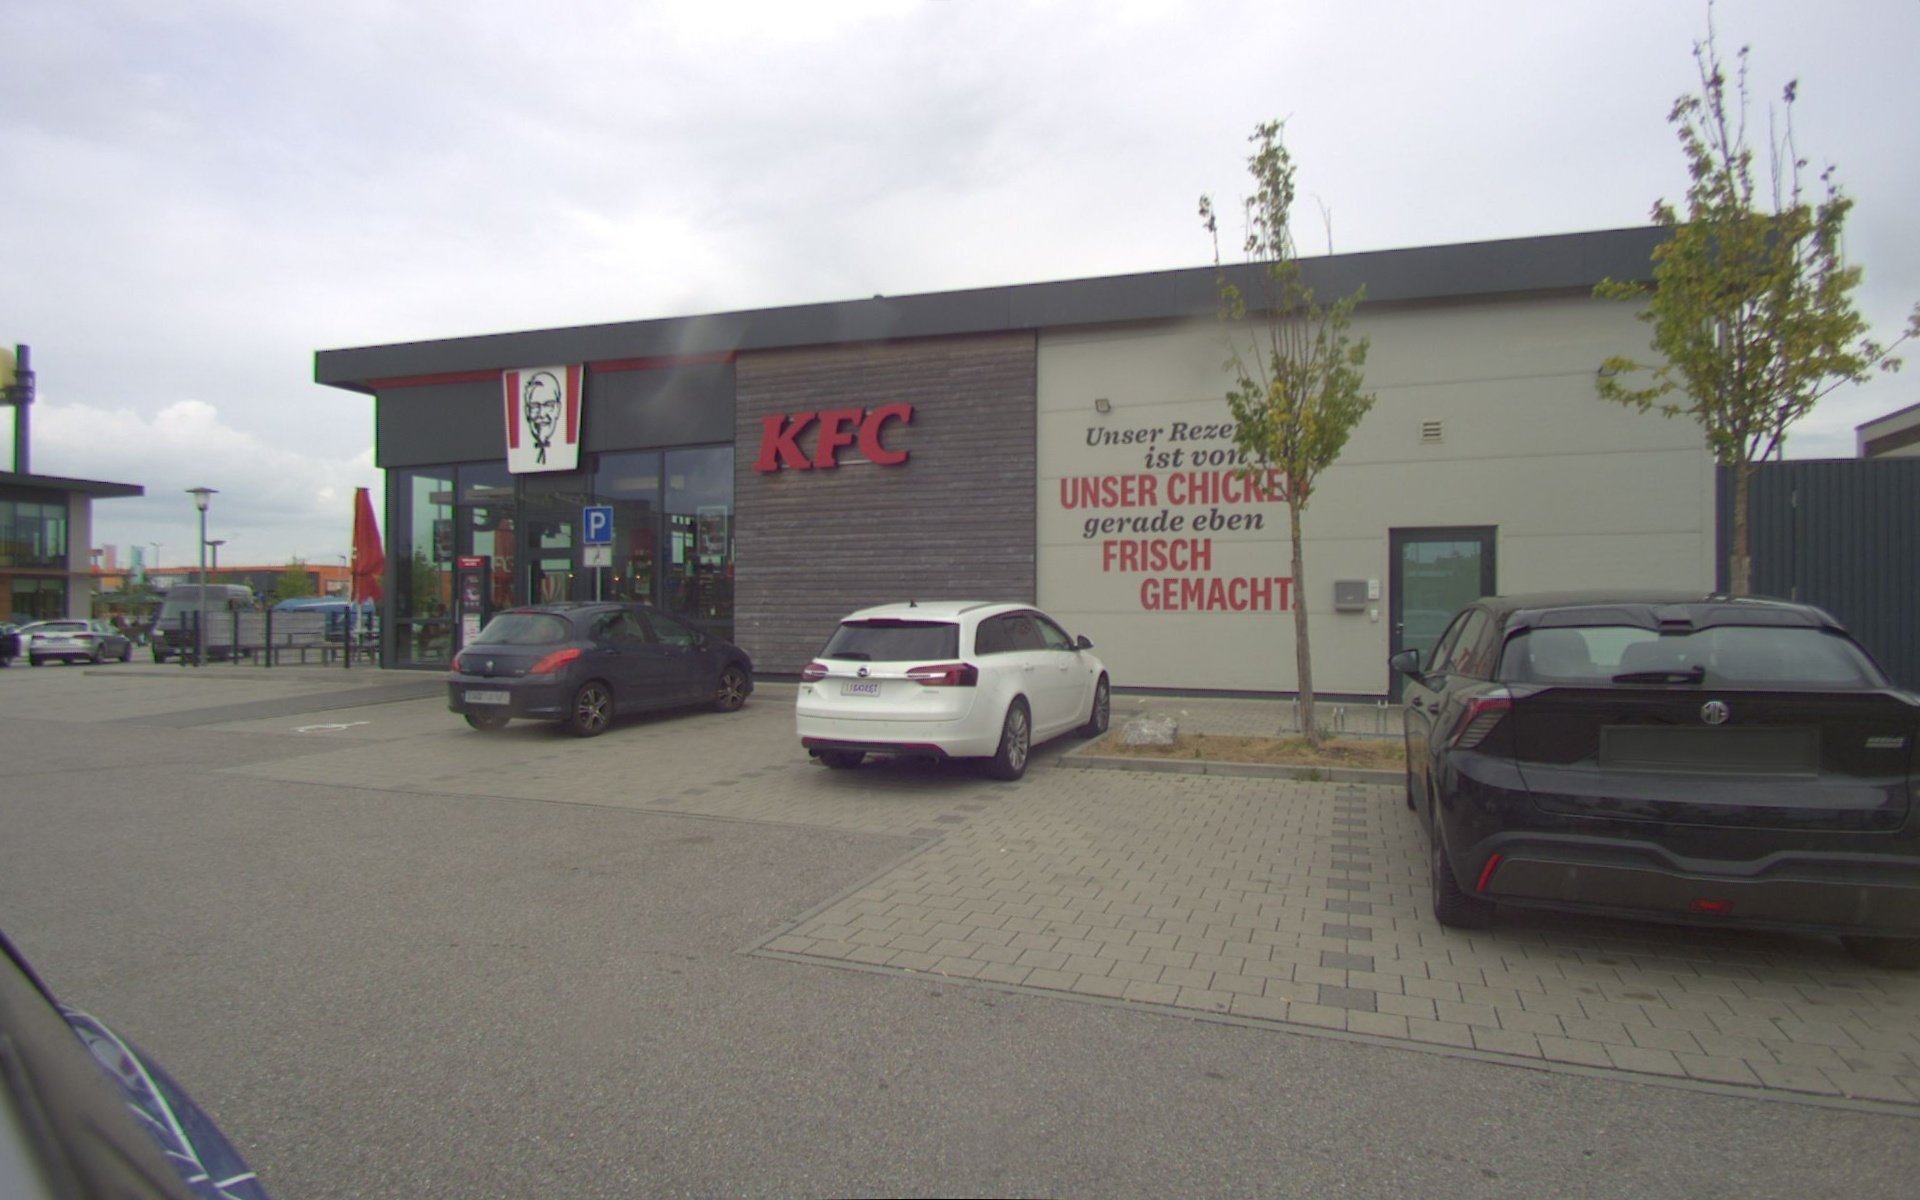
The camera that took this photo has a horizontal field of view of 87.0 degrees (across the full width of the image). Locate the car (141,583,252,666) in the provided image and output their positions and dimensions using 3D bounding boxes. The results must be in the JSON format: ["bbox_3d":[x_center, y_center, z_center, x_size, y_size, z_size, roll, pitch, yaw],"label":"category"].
[{"bbox_3d":[-26.347,0.879,35.172,2.037,2.573,7.035,0,-2,-29],"label":"car"}]

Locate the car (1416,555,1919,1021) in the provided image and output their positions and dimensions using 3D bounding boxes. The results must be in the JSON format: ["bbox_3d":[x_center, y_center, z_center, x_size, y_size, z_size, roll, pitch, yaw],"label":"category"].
[{"bbox_3d":[3.494,0.621,5.424,1.730,1.540,4.093,-1,0,22],"label":"car"}]

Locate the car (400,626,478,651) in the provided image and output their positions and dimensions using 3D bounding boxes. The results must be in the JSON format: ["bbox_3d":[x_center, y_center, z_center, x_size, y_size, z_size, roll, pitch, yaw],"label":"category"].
[{"bbox_3d":[-35.301,2.590,68.571,4.912,1.614,2.058,0,-1,23],"label":"car"}]

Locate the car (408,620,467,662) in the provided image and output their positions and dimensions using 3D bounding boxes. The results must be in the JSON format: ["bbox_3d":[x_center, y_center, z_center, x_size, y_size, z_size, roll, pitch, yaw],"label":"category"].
[{"bbox_3d":[-23.213,1.791,44.867,1.966,1.741,4.911,1,-2,-31],"label":"car"}]

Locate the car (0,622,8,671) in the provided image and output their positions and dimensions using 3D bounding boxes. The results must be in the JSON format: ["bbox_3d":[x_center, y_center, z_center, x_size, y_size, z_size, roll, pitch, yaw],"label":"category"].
[{"bbox_3d":[-29.082,1.361,28.774,1.658,1.474,4.421,-1,-2,-26],"label":"car"}]

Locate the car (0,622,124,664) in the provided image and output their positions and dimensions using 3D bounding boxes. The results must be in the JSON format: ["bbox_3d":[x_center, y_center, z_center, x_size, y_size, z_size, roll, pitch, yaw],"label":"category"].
[{"bbox_3d":[-34.646,1.652,38.532,4.040,1.478,1.785,0,-4,-28],"label":"car"}]

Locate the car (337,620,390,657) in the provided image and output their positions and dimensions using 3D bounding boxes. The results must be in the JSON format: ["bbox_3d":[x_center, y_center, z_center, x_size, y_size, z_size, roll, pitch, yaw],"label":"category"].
[{"bbox_3d":[-25.001,1.571,42.411,1.801,1.422,4.012,-1,-1,-31],"label":"car"}]

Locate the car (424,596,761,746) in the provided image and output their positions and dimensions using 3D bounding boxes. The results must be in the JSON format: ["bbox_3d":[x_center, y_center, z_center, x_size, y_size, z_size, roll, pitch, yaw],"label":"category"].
[{"bbox_3d":[-4.323,0.747,12.583,1.747,1.498,3.910,-1,0,23],"label":"car"}]

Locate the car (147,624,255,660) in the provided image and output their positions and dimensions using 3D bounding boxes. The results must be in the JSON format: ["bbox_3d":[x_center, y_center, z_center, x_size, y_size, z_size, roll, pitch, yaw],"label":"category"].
[{"bbox_3d":[-33.486,1.839,44.756,3.512,1.465,1.848,0,-2,-26],"label":"car"}]

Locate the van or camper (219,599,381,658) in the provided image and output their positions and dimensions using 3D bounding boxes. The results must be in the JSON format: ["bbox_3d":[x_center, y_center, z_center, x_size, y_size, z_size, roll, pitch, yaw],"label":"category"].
[{"bbox_3d":[-32.800,1.403,50.554,6.460,2.721,2.179,-1,-2,-20],"label":"van or camper"}]

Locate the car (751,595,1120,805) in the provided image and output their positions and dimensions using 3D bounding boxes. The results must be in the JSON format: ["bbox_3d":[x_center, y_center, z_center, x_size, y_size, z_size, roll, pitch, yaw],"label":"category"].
[{"bbox_3d":[0.047,0.747,9.557,1.987,1.497,4.147,0,-1,23],"label":"car"}]

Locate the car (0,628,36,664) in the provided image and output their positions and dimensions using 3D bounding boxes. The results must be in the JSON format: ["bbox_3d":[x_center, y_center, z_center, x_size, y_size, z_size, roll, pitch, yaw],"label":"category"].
[{"bbox_3d":[-45.493,2.137,47.595,1.759,1.498,4.013,2,0,-24],"label":"car"}]

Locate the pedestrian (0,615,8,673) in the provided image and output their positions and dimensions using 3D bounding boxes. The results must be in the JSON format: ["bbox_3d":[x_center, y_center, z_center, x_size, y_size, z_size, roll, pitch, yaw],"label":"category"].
[{"bbox_3d":[-28.419,1.278,29.487,0.736,1.690,0.845,1,-2,-27],"label":"pedestrian"}]

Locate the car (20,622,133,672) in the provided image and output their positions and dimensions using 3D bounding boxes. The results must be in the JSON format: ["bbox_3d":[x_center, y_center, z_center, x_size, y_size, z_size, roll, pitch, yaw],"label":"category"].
[{"bbox_3d":[-28.314,1.480,32.568,1.658,1.462,4.013,-1,-2,-24],"label":"car"}]
